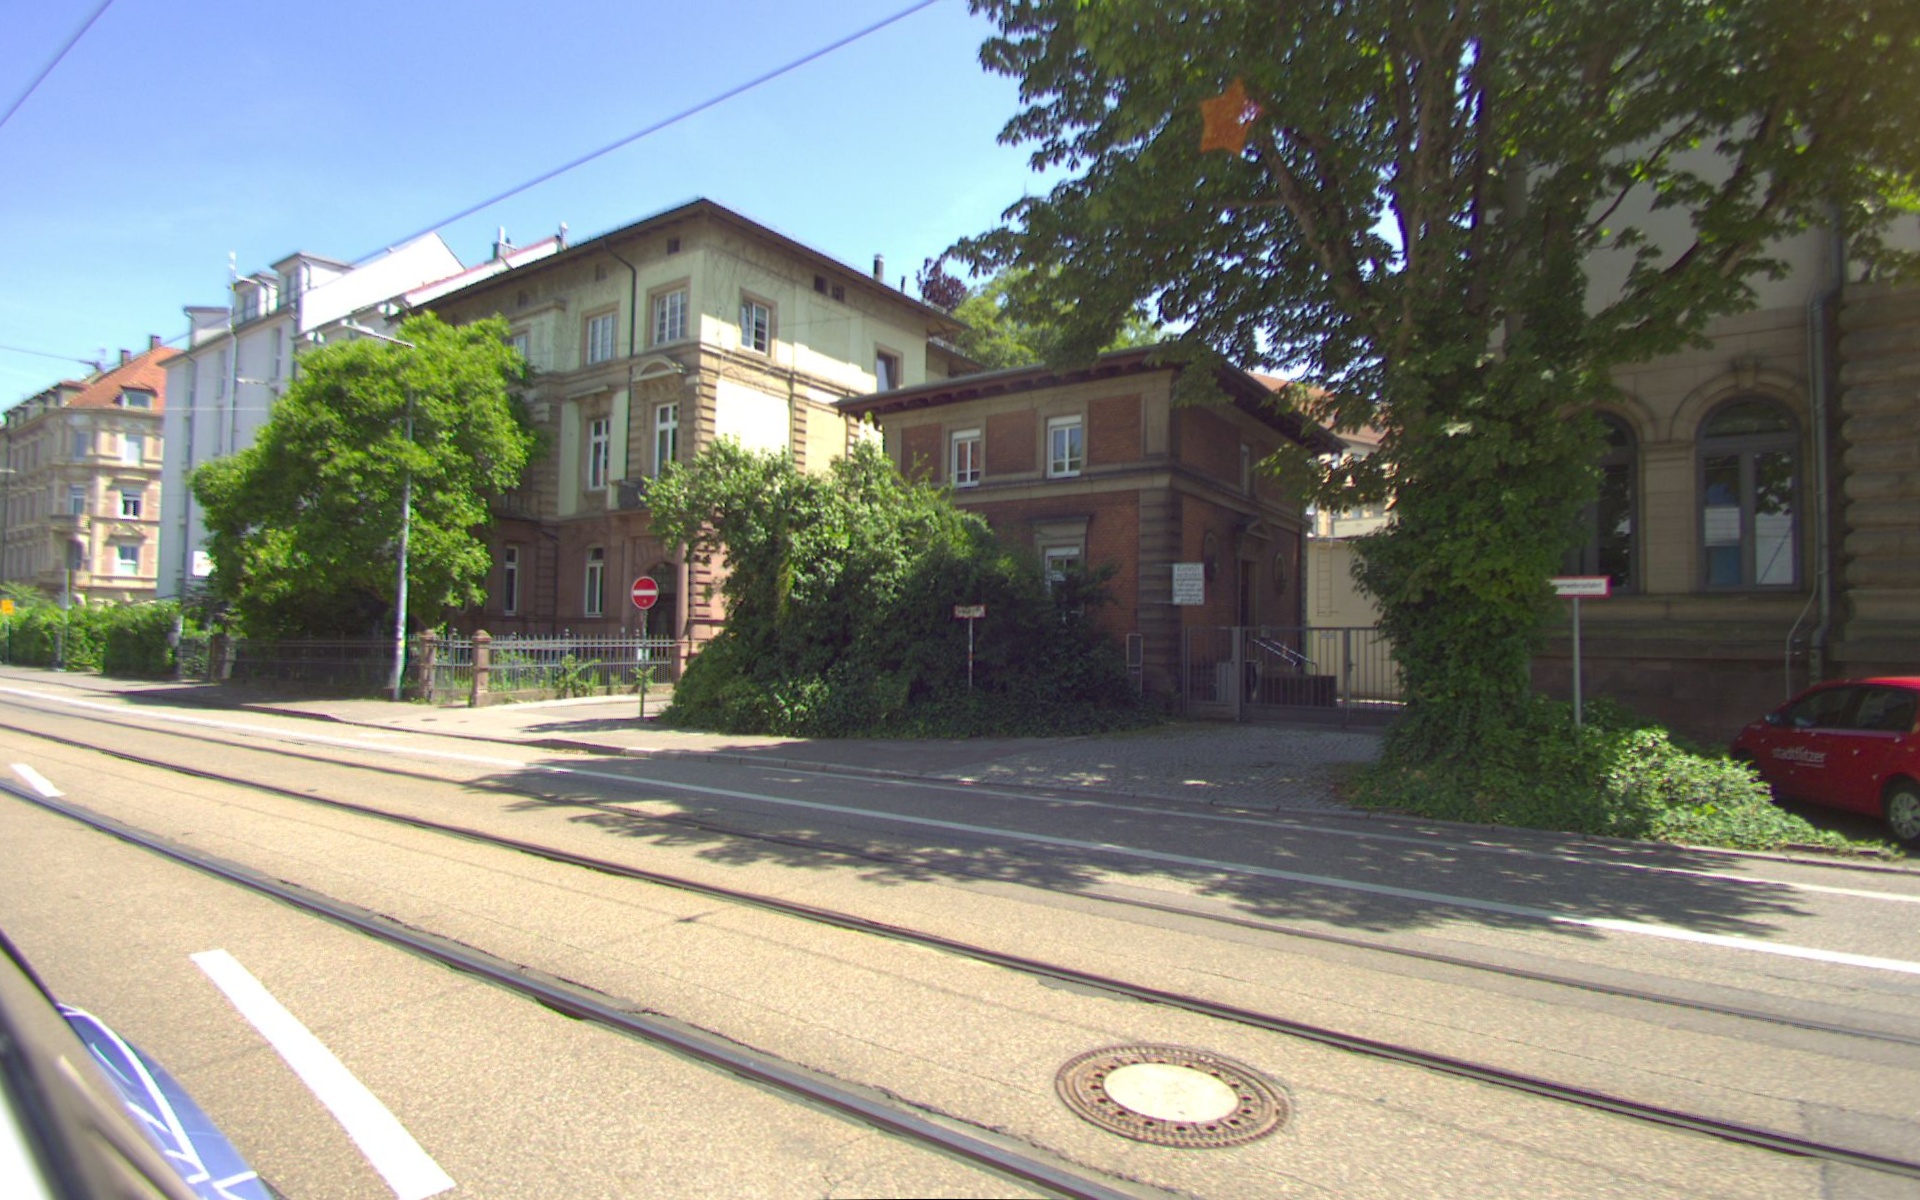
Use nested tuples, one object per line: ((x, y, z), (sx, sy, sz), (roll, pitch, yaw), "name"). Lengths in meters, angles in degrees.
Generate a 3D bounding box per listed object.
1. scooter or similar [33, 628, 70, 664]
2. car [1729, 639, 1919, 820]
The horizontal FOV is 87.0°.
((-38.301, 1.939, 42.678), (0.596, 1.462, 1.000), (0, -2, 36), "scooter or similar")
((9.190, 1.154, 9.587), (1.651, 1.527, 3.342), (0, -2, 10), "car")
